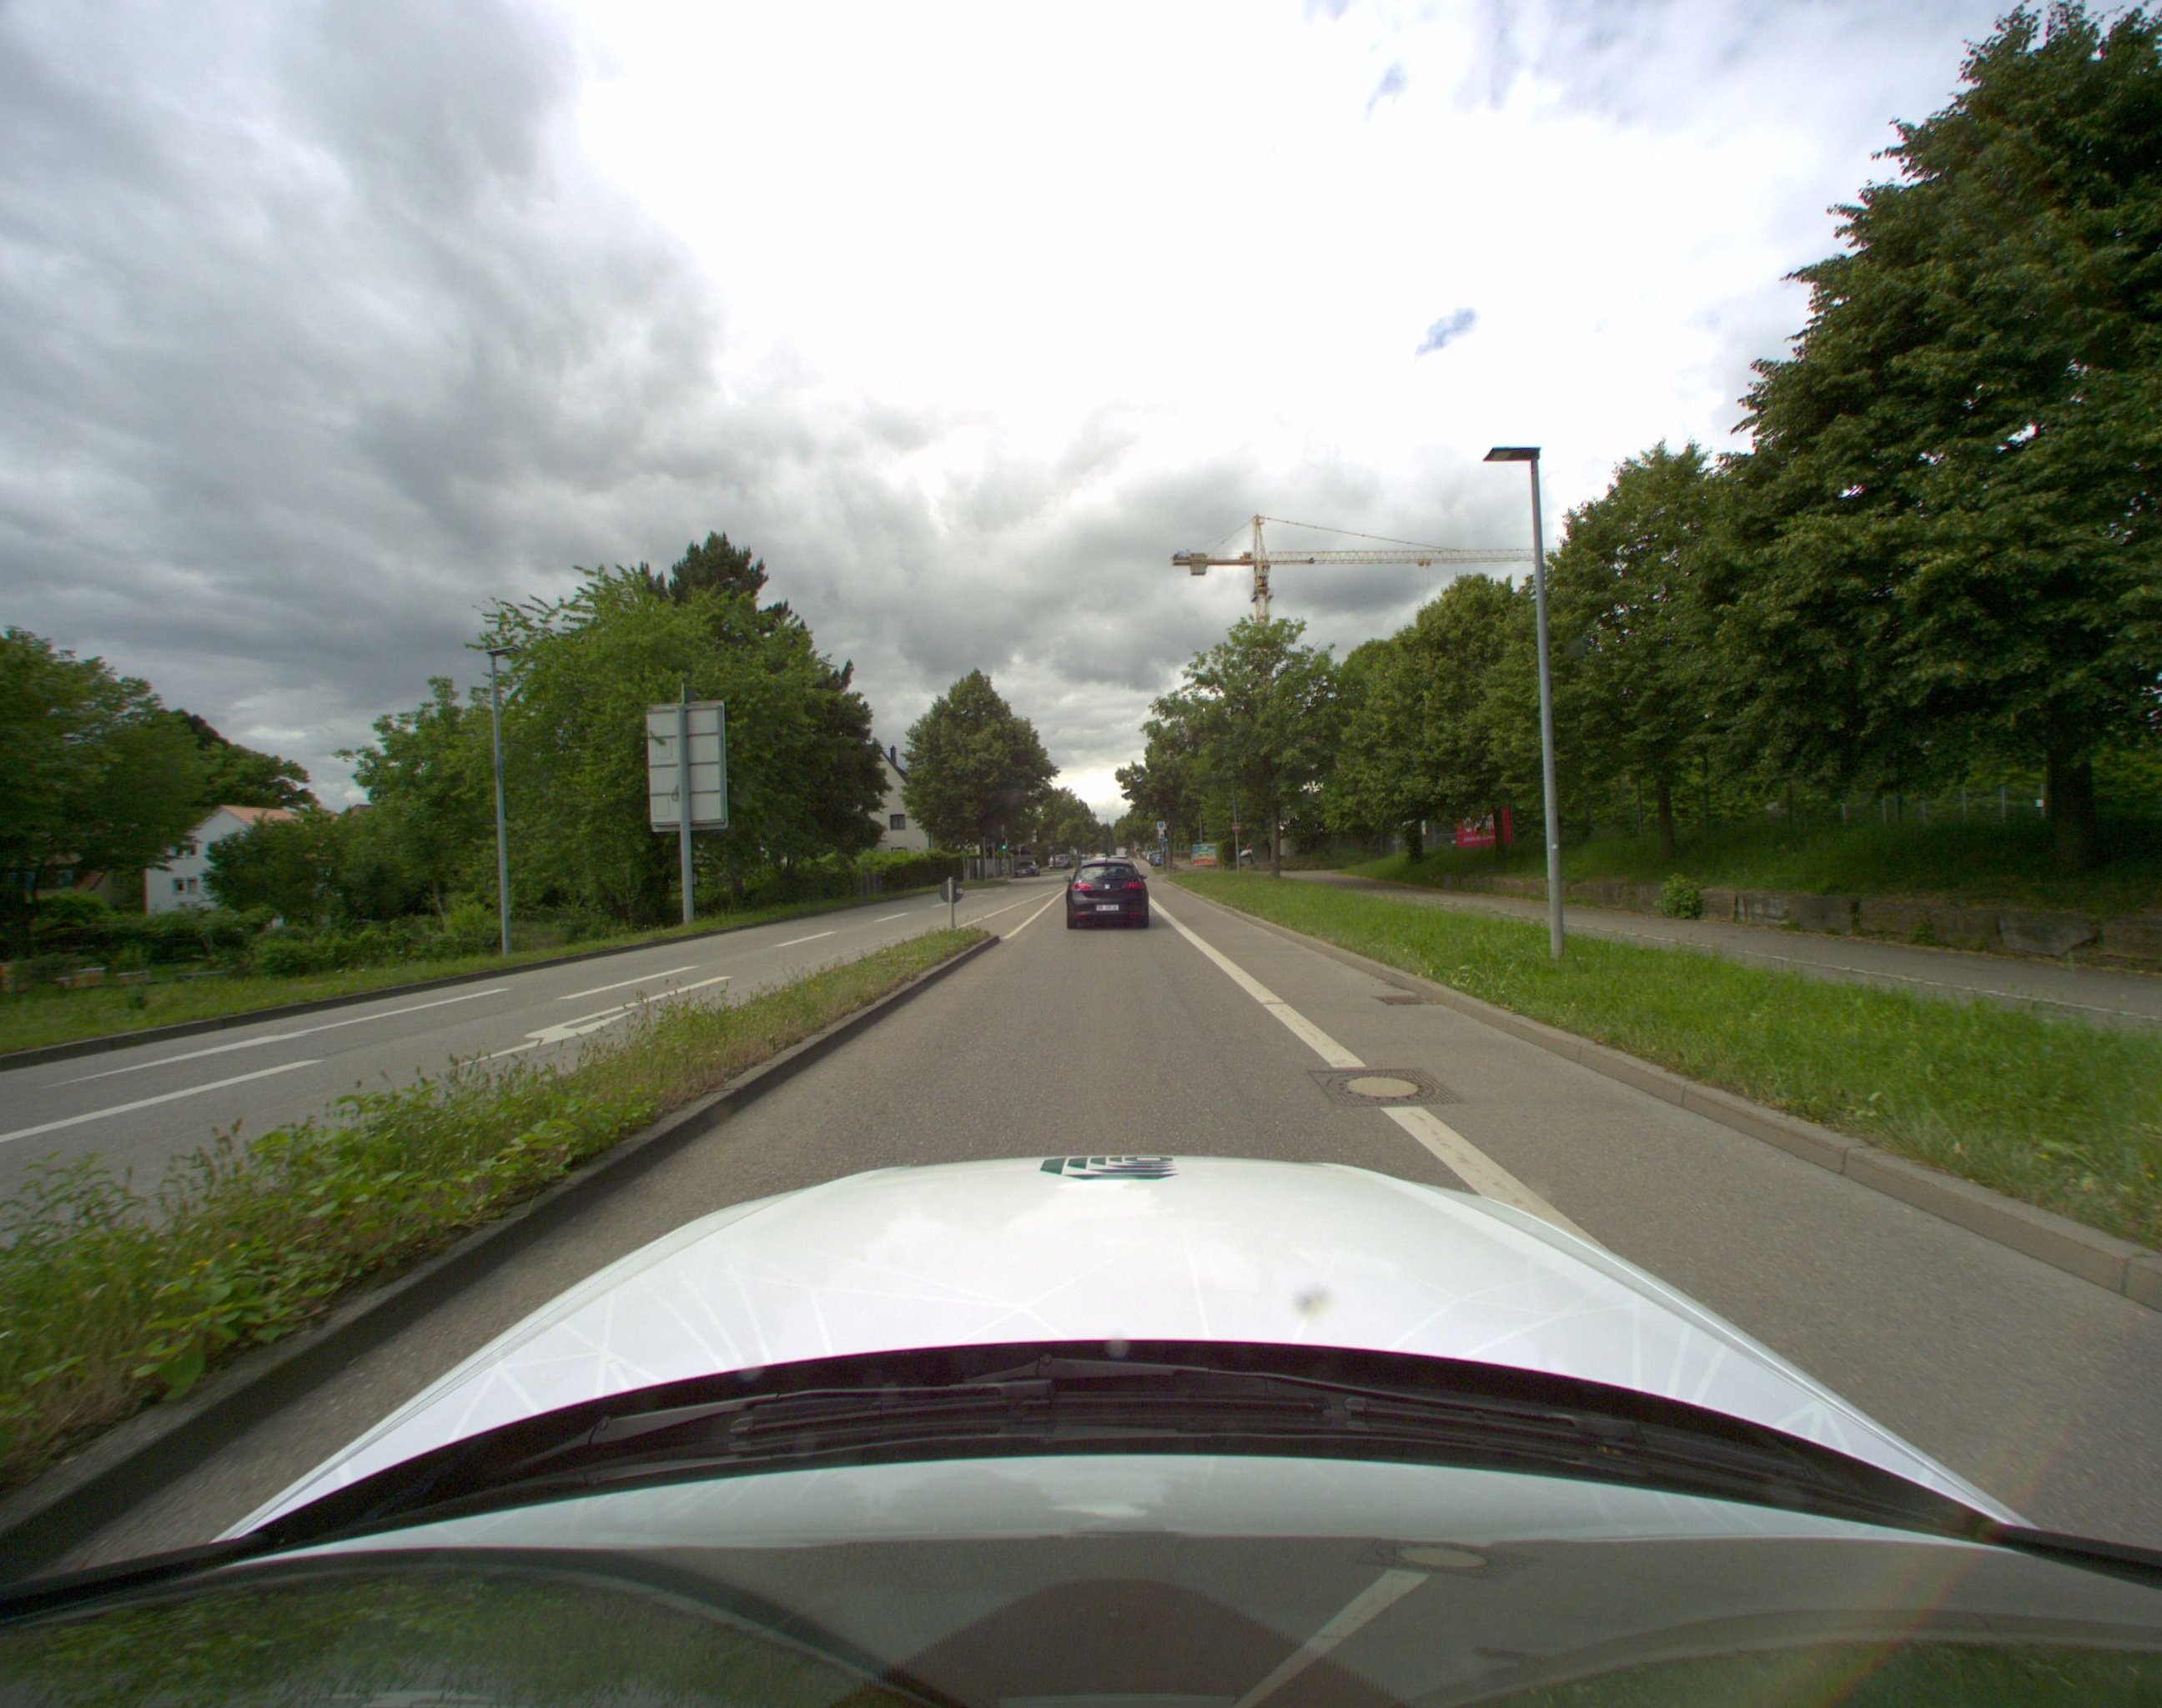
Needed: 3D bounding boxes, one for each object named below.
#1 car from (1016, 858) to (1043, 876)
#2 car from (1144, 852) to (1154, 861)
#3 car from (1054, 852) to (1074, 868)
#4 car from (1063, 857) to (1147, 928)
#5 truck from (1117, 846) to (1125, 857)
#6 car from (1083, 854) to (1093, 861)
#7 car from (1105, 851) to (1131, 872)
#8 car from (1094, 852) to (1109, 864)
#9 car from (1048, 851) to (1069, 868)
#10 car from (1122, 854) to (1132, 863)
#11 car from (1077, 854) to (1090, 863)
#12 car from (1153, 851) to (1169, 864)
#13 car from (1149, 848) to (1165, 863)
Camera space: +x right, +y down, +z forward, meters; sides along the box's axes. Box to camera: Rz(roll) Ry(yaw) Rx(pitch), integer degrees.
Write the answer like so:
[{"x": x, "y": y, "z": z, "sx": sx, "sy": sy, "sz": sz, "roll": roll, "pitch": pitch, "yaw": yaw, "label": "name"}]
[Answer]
[{"x": -4.523, "y": 1.141, "z": 72.014, "sx": 1.711, "sy": 1.395, "sz": 4.805, "roll": -4, "pitch": 0, "yaw": 3, "label": "car"}, {"x": 11.945, "y": 0.415, "z": 143.528, "sx": 1.681, "sy": 1.564, "sz": 4.217, "roll": -2, "pitch": 0, "yaw": 3, "label": "car"}, {"x": -2.266, "y": 0.760, "z": 108.629, "sx": 2.091, "sy": 1.896, "sz": 5.788, "roll": -4, "pitch": 0, "yaw": 3, "label": "car"}, {"x": 0.540, "y": 0.771, "z": 18.139, "sx": 1.656, "sy": 1.401, "sz": 3.813, "roll": -1, "pitch": 0, "yaw": 2, "label": "car"}, {"x": 11.492, "y": -0.671, "z": 234.837, "sx": 2.270, "sy": 3.104, "sz": 8.515, "roll": 0, "pitch": 0, "yaw": 2, "label": "truck"}, {"x": 1.654, "y": 0.899, "z": 191.203, "sx": 2.091, "sy": 1.506, "sz": 5.788, "roll": -4, "pitch": 0, "yaw": 3, "label": "car"}, {"x": 2.764, "y": 0.554, "z": 60.489, "sx": 1.838, "sy": 1.510, "sz": 3.815, "roll": -1, "pitch": 0, "yaw": 4, "label": "car"}, {"x": 3.114, "y": 0.537, "z": 120.731, "sx": 1.866, "sy": 1.635, "sz": 4.346, "roll": -4, "pitch": 0, "yaw": 5, "label": "car"}, {"x": -2.776, "y": 0.700, "z": 101.142, "sx": 2.091, "sy": 1.896, "sz": 5.788, "roll": -4, "pitch": 0, "yaw": 3, "label": "car"}, {"x": 9.246, "y": 0.889, "z": 163.383, "sx": 1.873, "sy": 1.689, "sz": 4.217, "roll": -2, "pitch": 0, "yaw": 3, "label": "car"}, {"x": 0.458, "y": 0.894, "z": 158.374, "sx": 2.091, "sy": 1.506, "sz": 5.788, "roll": -4, "pitch": 0, "yaw": 3, "label": "car"}, {"x": 9.321, "y": 0.394, "z": 95.287, "sx": 1.681, "sy": 1.490, "sz": 3.357, "roll": -2, "pitch": 0, "yaw": 3, "label": "car"}, {"x": 9.334, "y": 0.177, "z": 100.303, "sx": 1.681, "sy": 1.711, "sz": 4.217, "roll": -2, "pitch": 0, "yaw": 3, "label": "car"}]
